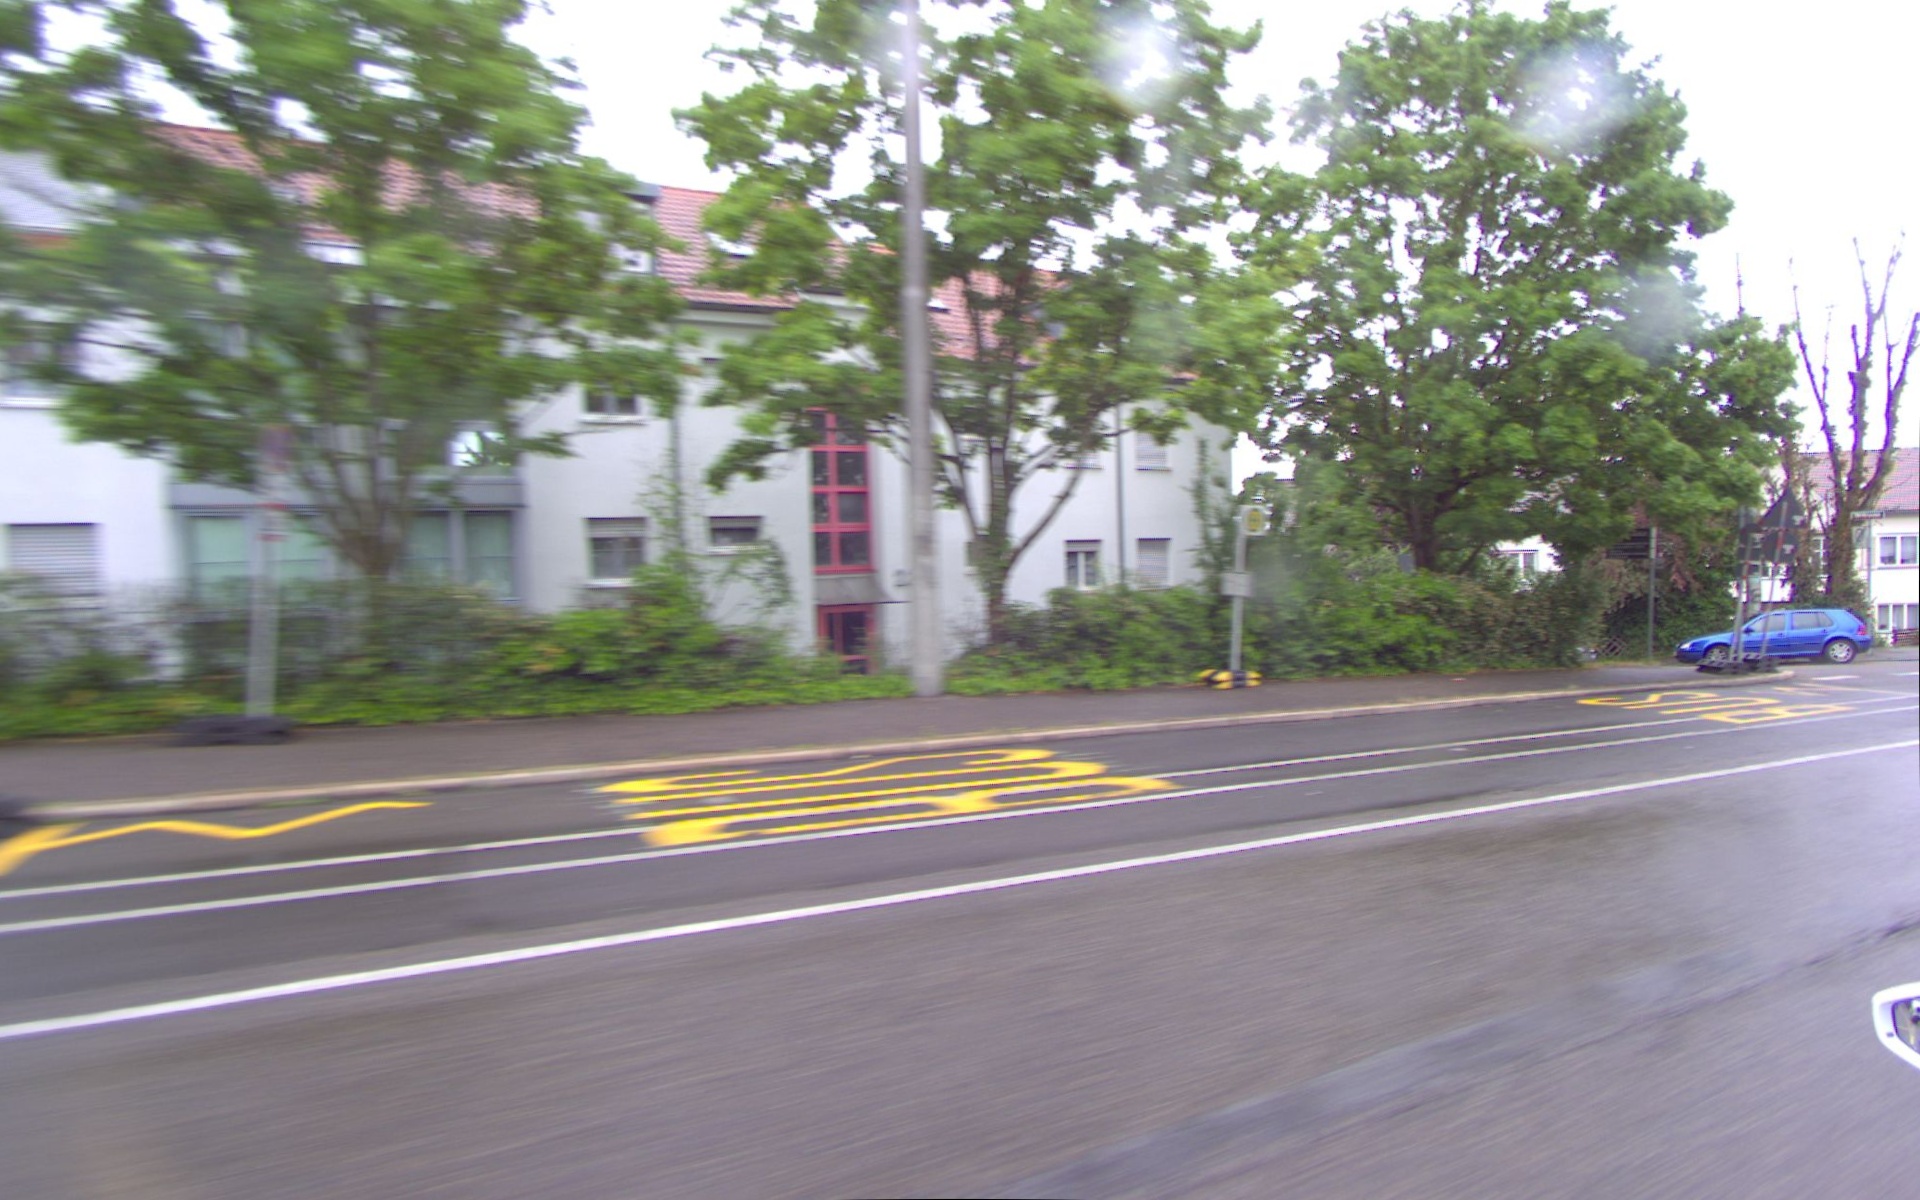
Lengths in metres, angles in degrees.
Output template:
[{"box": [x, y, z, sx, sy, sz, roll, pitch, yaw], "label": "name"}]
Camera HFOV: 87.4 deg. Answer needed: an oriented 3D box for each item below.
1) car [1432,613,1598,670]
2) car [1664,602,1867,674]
[{"box": [16.580, 1.182, 30.121, 4.024, 1.514, 1.831, 1, 0, 43], "label": "car"}, {"box": [21.439, 0.972, 26.937, 3.868, 1.688, 1.840, 2, 0, 26], "label": "car"}]
